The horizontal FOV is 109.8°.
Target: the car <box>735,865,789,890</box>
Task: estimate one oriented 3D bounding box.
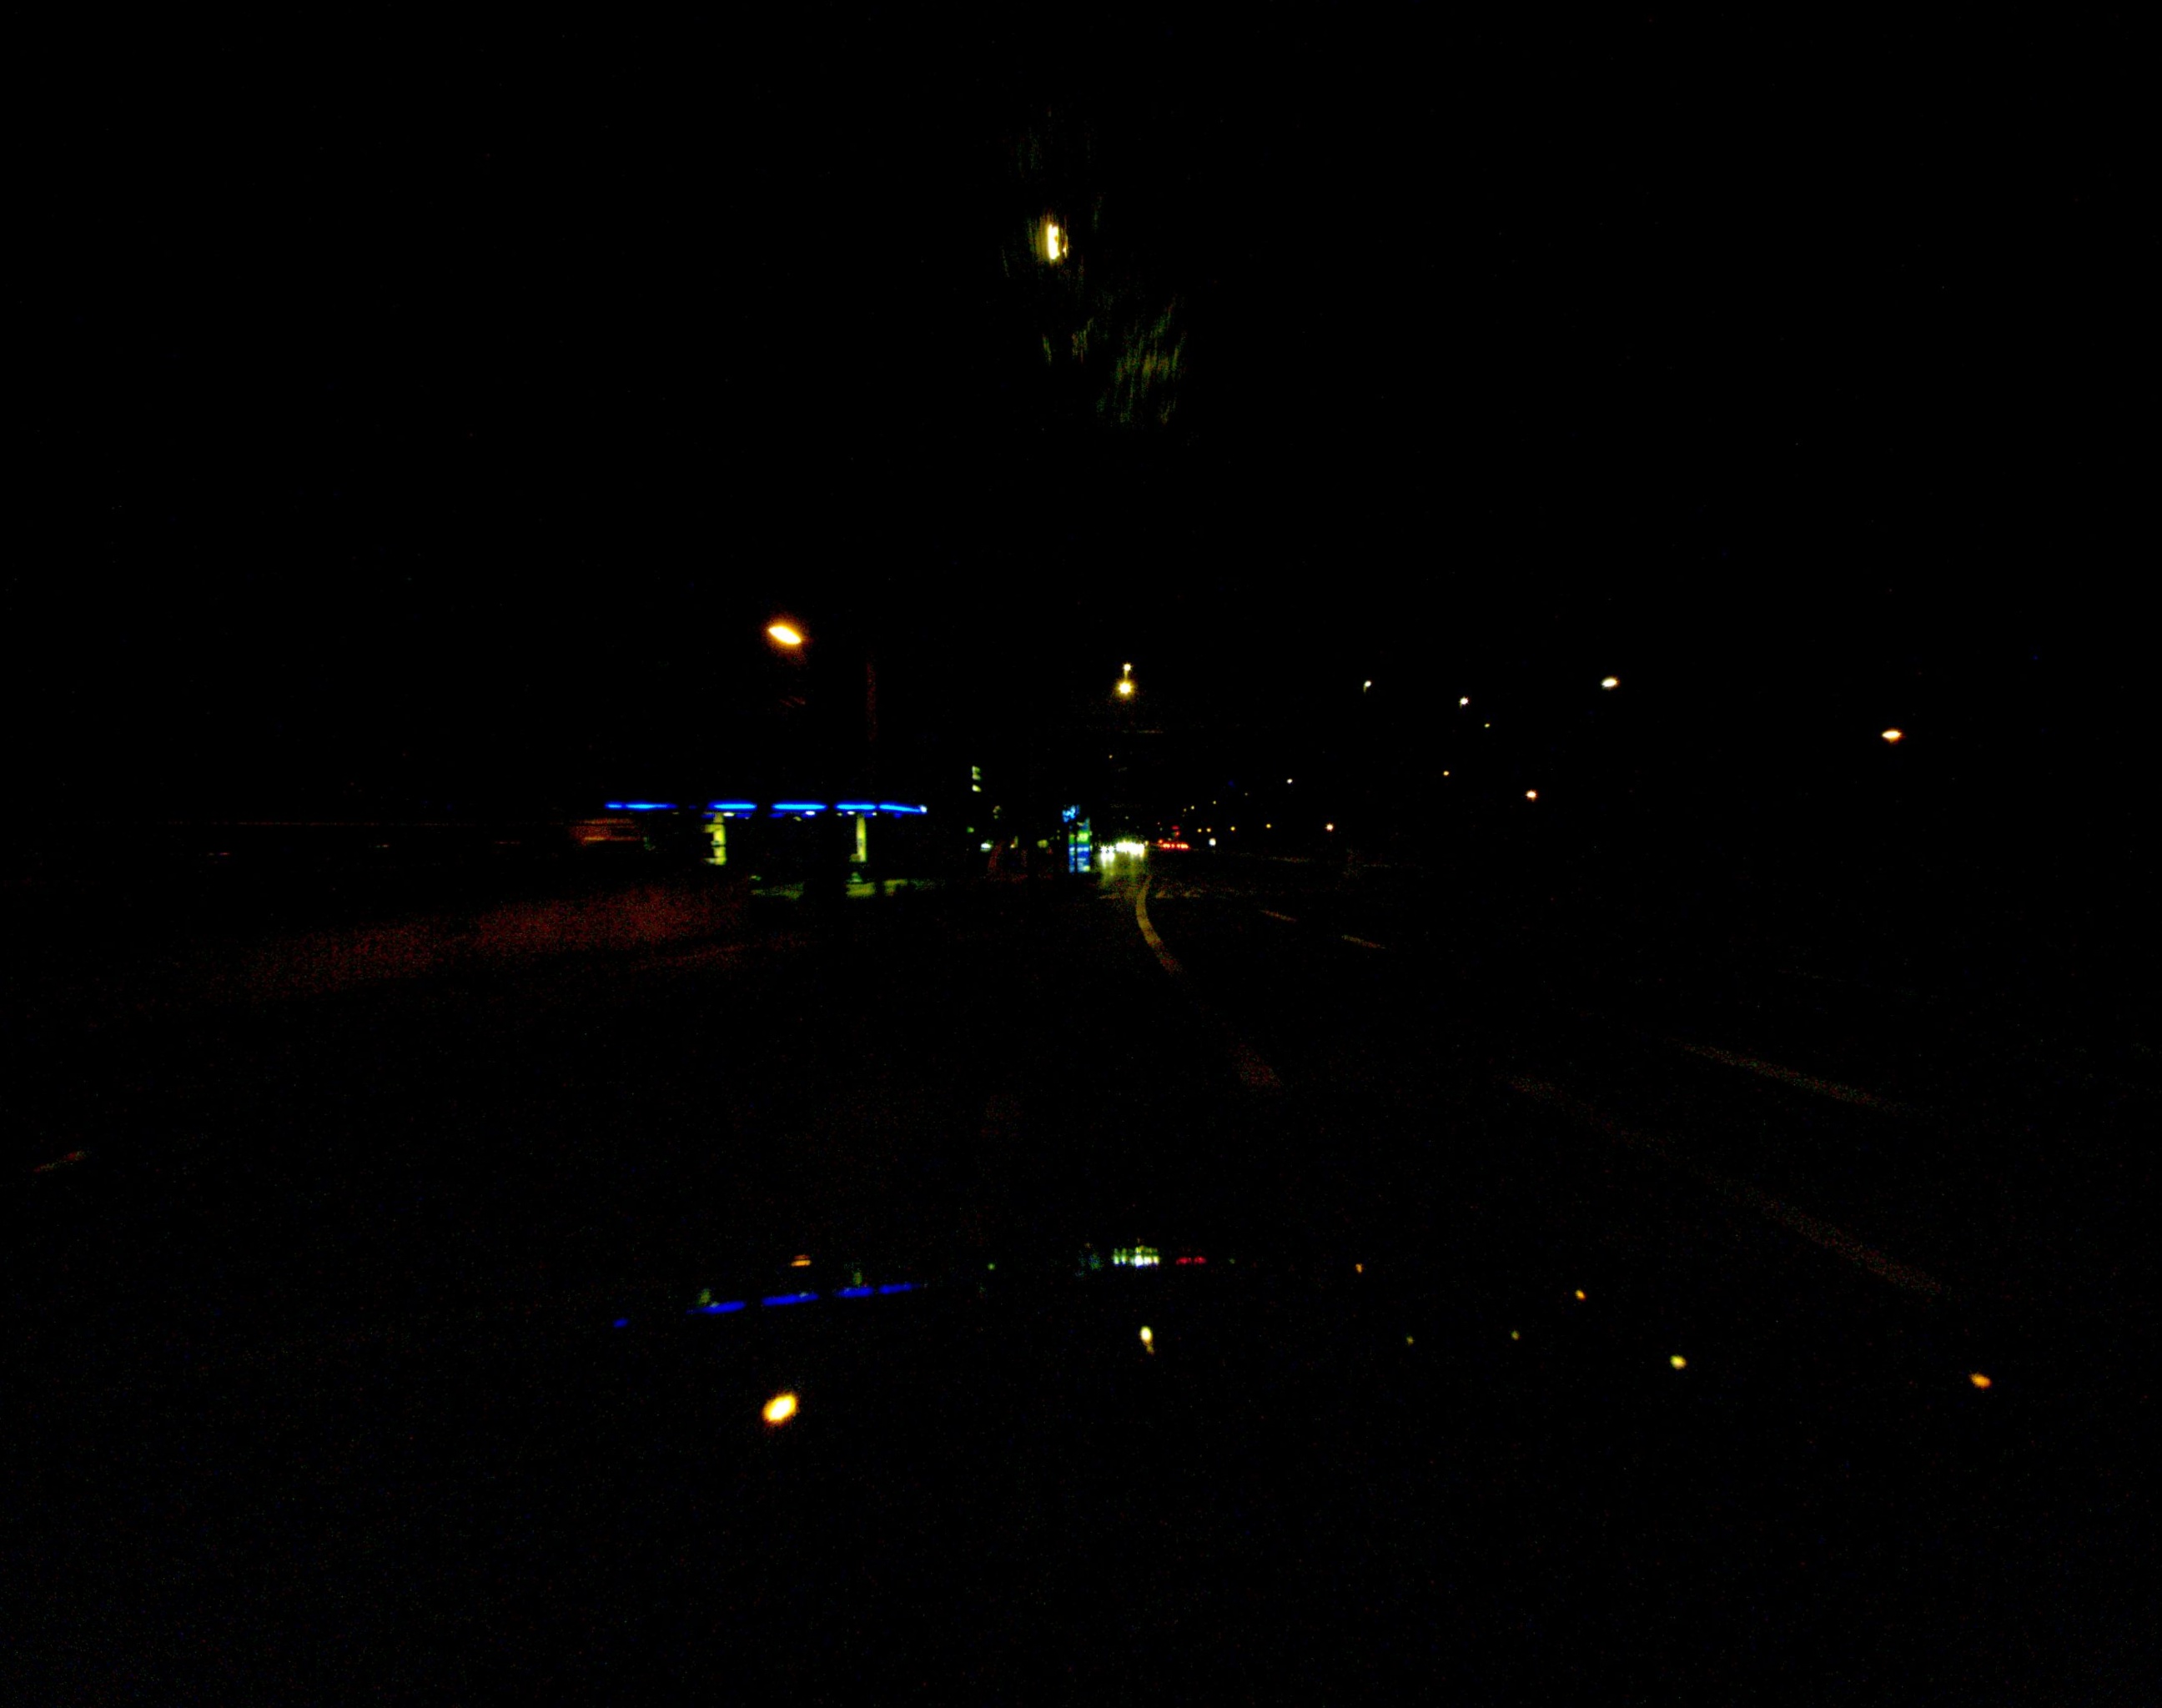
[{"bbox_3d":[-20.142,1.453,48.126,1.932,1.355,4.331,-1,2,-6],"label":"car"}]

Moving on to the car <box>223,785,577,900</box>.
[{"bbox_3d":[-10.422,-0.201,11.849,3.996,1.562,1.738,1,2,2],"label":"car"}]

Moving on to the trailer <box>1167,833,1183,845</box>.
[{"bbox_3d":[32.196,-5.277,259.765,3.707,3.967,8.389,-2,2,-5],"label":"trailer"}]

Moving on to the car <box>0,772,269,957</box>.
[{"bbox_3d":[-10.244,0.019,6.924,3.734,1.481,1.741,1,2,-1],"label":"car"}]

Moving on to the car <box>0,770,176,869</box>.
[{"bbox_3d":[-20.208,-0.701,14.440,3.995,1.721,1.837,2,2,4],"label":"car"}]

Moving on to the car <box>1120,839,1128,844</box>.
[{"bbox_3d":[12.019,-3.572,213.107,1.991,1.473,4.203,1,1,1],"label":"car"}]

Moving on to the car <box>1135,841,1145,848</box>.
[{"bbox_3d":[13.611,-2.217,175.828,1.991,1.473,4.203,1,1,1],"label":"car"}]

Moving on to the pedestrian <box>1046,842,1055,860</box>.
[{"bbox_3d":[-3.401,-0.312,84.110,0.806,1.902,0.794,2,2,10],"label":"pedestrian"}]

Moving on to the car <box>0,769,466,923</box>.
[{"bbox_3d":[-10.242,-0.121,9.426,3.757,1.578,1.779,2,2,-1],"label":"car"}]

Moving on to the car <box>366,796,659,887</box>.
[{"bbox_3d":[-10.460,-0.257,14.207,4.129,1.514,1.822,1,3,2],"label":"car"}]
